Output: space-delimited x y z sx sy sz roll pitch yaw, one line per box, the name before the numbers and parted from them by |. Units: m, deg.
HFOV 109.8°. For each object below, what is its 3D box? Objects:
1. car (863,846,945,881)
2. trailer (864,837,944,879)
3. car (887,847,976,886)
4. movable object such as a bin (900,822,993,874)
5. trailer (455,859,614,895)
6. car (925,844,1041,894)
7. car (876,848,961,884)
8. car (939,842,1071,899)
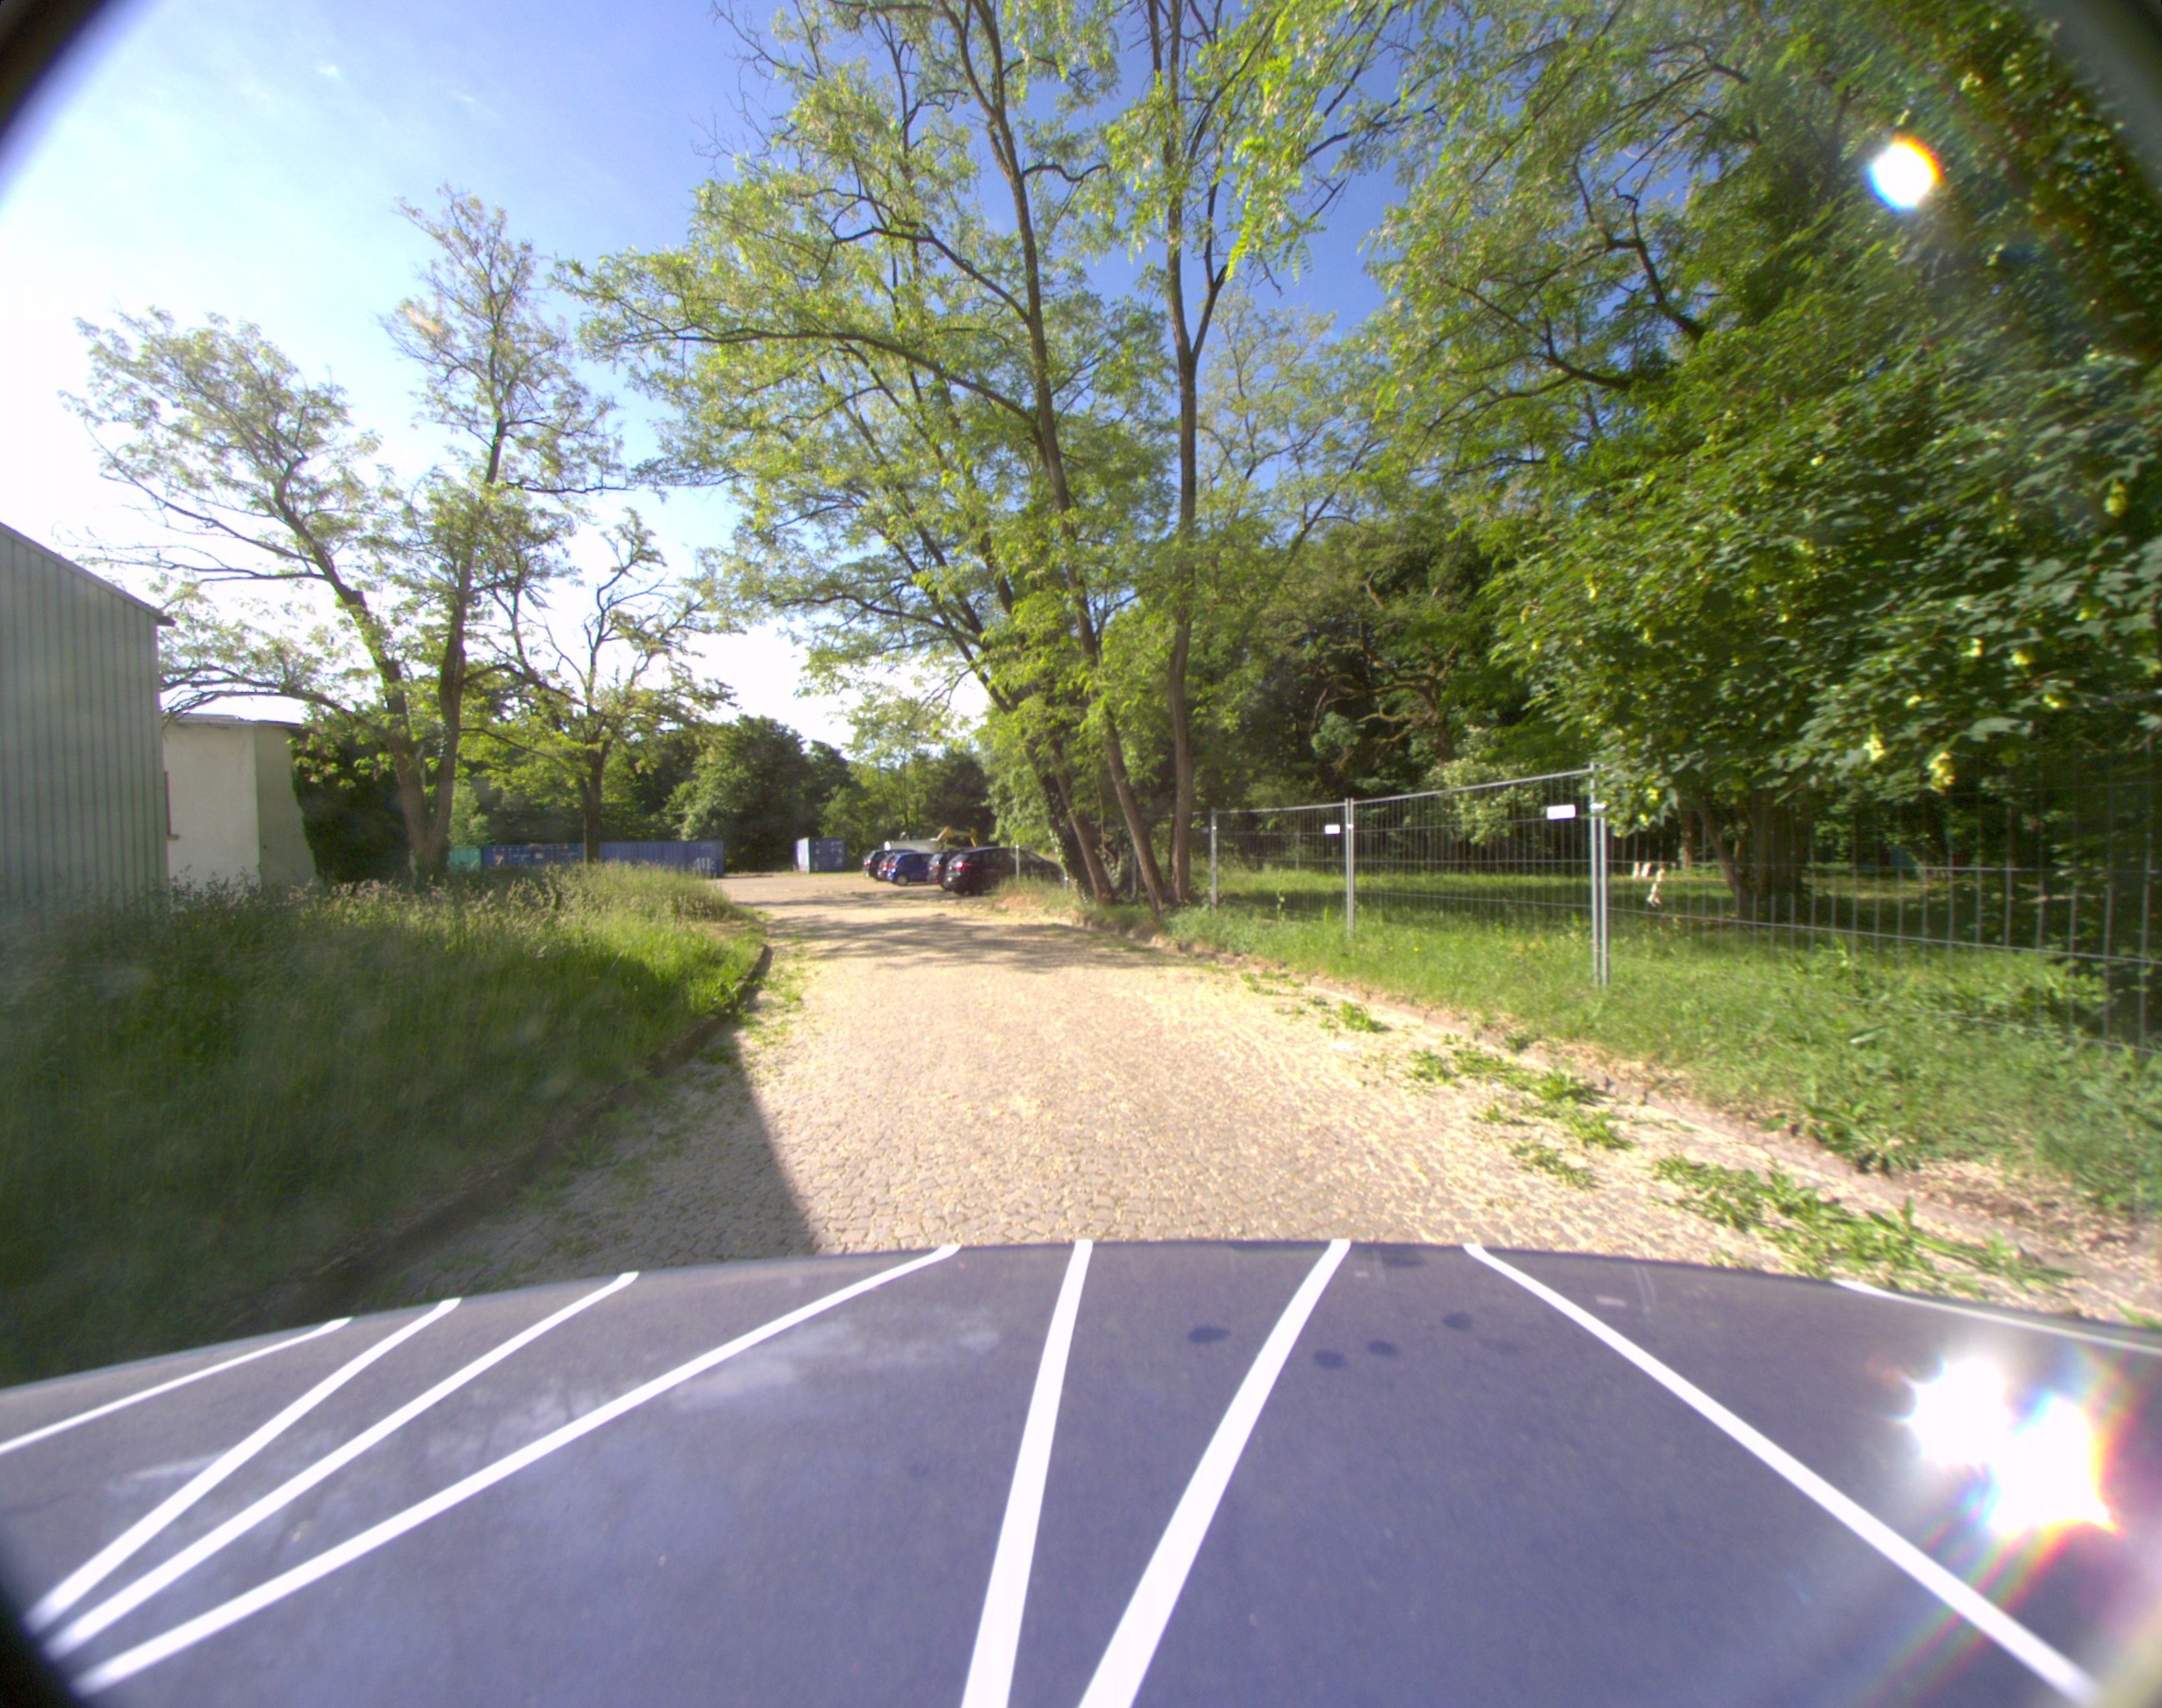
car | -9.198 0.467 39.402 3.824 1.632 1.864 -3 1 -22
trailer | -9.864 0.197 42.332 3.977 2.082 1.636 -4 2 -23
car | -6.877 0.556 34.921 3.666 1.485 1.711 -4 2 -22
movable object such as a bin | -8.100 -0.392 45.885 5.169 2.949 1.996 -2 1 -20
trailer | -29.454 1.189 41.313 6.500 1.509 2.849 -3 3 -24
car | -3.919 0.549 30.397 4.195 1.647 1.814 -4 2 -25
car | -7.979 0.550 37.283 3.667 1.443 1.830 -4 2 -24
car | -2.715 0.547 27.389 4.305 1.643 1.789 -5 2 -29
